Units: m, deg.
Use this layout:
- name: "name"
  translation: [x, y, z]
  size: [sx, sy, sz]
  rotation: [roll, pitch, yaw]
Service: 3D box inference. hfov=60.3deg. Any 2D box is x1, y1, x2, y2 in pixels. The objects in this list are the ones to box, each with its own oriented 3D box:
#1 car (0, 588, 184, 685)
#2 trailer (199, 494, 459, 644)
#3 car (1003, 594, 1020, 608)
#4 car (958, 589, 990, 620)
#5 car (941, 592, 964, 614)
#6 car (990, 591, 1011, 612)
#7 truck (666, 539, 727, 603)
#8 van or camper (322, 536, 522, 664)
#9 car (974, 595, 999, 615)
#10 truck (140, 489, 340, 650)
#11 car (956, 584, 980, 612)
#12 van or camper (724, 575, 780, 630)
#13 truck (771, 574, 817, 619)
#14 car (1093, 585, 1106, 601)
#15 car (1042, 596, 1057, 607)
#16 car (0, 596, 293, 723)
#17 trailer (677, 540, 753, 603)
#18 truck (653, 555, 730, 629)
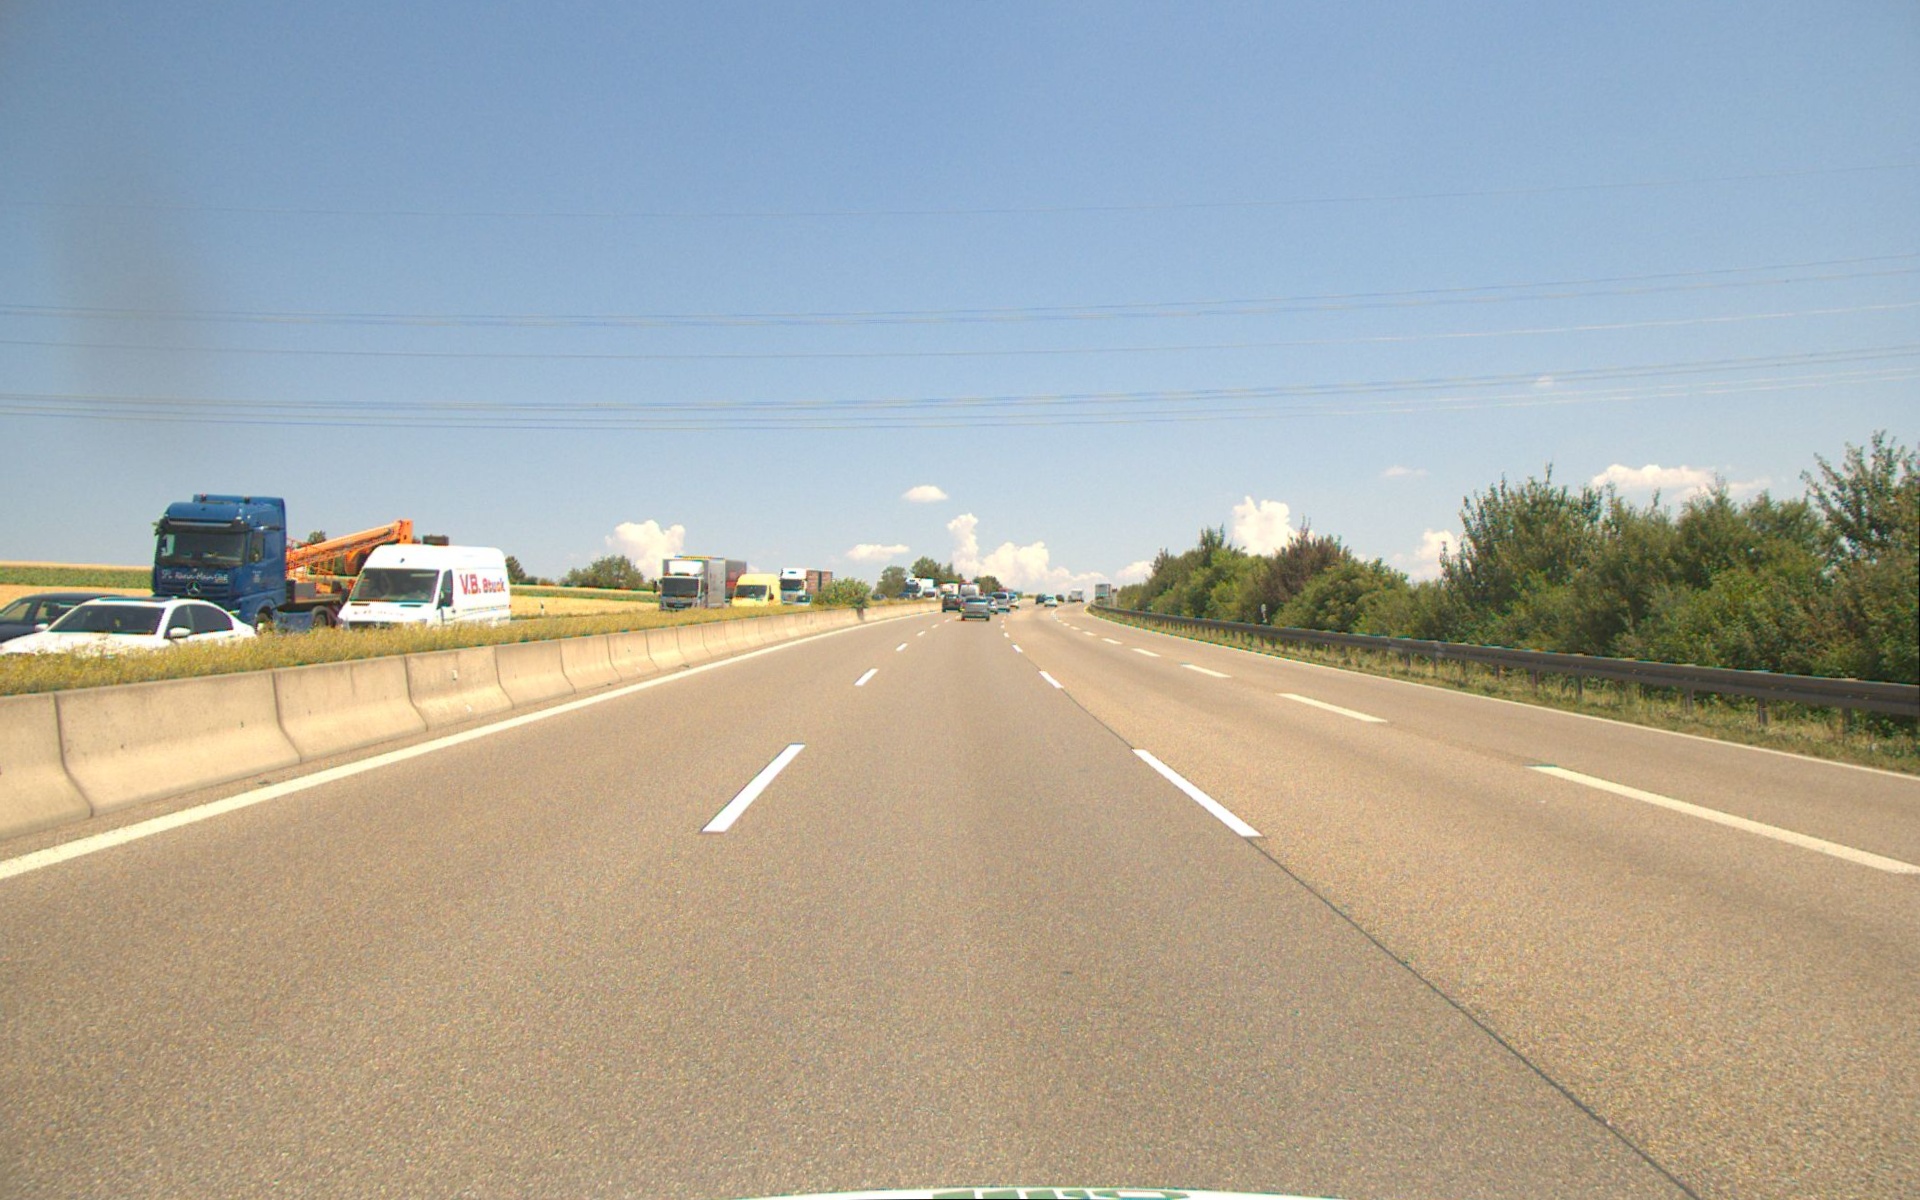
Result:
- name: "car"
  translation: [-15.221, 0.565, 28.264]
  size: [1.782, 1.505, 4.502]
  rotation: [1, 0, 0]
- name: "trailer"
  translation: [-19.190, -0.838, 51.717]
  size: [2.781, 4.027, 13.727]
  rotation: [1, 0, 0]
- name: "car"
  translation: [6.137, 0.120, 197.412]
  size: [1.952, 1.579, 4.001]
  rotation: [2, 1, 2]
- name: "car"
  translation: [0.895, 0.313, 105.432]
  size: [1.953, 1.781, 3.999]
  rotation: [1, -3, 0]
- name: "car"
  translation: [-0.653, 0.259, 152.086]
  size: [1.808, 1.893, 4.208]
  rotation: [1, 1, 4]
- name: "car"
  translation: [3.963, 0.154, 161.690]
  size: [1.952, 1.937, 4.000]
  rotation: [0, -2, 2]
- name: "truck"
  translation: [-17.631, -1.892, 111.100]
  size: [2.793, 4.098, 6.516]
  rotation: [1, 0, 2]
- name: "van or camper"
  translation: [-11.718, 0.007, 36.723]
  size: [2.025, 2.507, 7.518]
  rotation: [-1, 0, -1]
- name: "car"
  translation: [2.249, 0.411, 140.179]
  size: [1.953, 1.613, 3.999]
  rotation: [0, -1, -1]
- name: "truck"
  translation: [-19.210, -0.772, 44.564]
  size: [2.719, 4.006, 6.137]
  rotation: [1, 0, -1]
- name: "car"
  translation: [0.852, -0.187, 171.367]
  size: [2.134, 2.671, 4.673]
  rotation: [1, -3, 3]
- name: "van or camper"
  translation: [-10.941, 0.128, 87.501]
  size: [2.041, 2.755, 6.139]
  rotation: [1, 0, 1]
- name: "truck"
  translation: [-16.158, -0.372, 161.515]
  size: [2.827, 4.244, 10.626]
  rotation: [1, 0, 3]
- name: "car"
  translation: [21.446, -1.052, 253.800]
  size: [1.951, 2.341, 6.267]
  rotation: [0, 0, 5]
- name: "car"
  translation: [12.274, 0.140, 225.890]
  size: [1.862, 1.467, 4.003]
  rotation: [1, 0, 5]
- name: "car"
  translation: [-11.787, 0.761, 24.203]
  size: [1.887, 1.615, 5.667]
  rotation: [1, 0, -2]
- name: "trailer"
  translation: [-17.287, -1.930, 117.958]
  size: [2.735, 4.177, 14.011]
  rotation: [1, 0, 2]
- name: "truck"
  translation: [-14.539, -0.459, 90.135]
  size: [2.875, 3.809, 7.779]
  rotation: [1, 0, 0]
